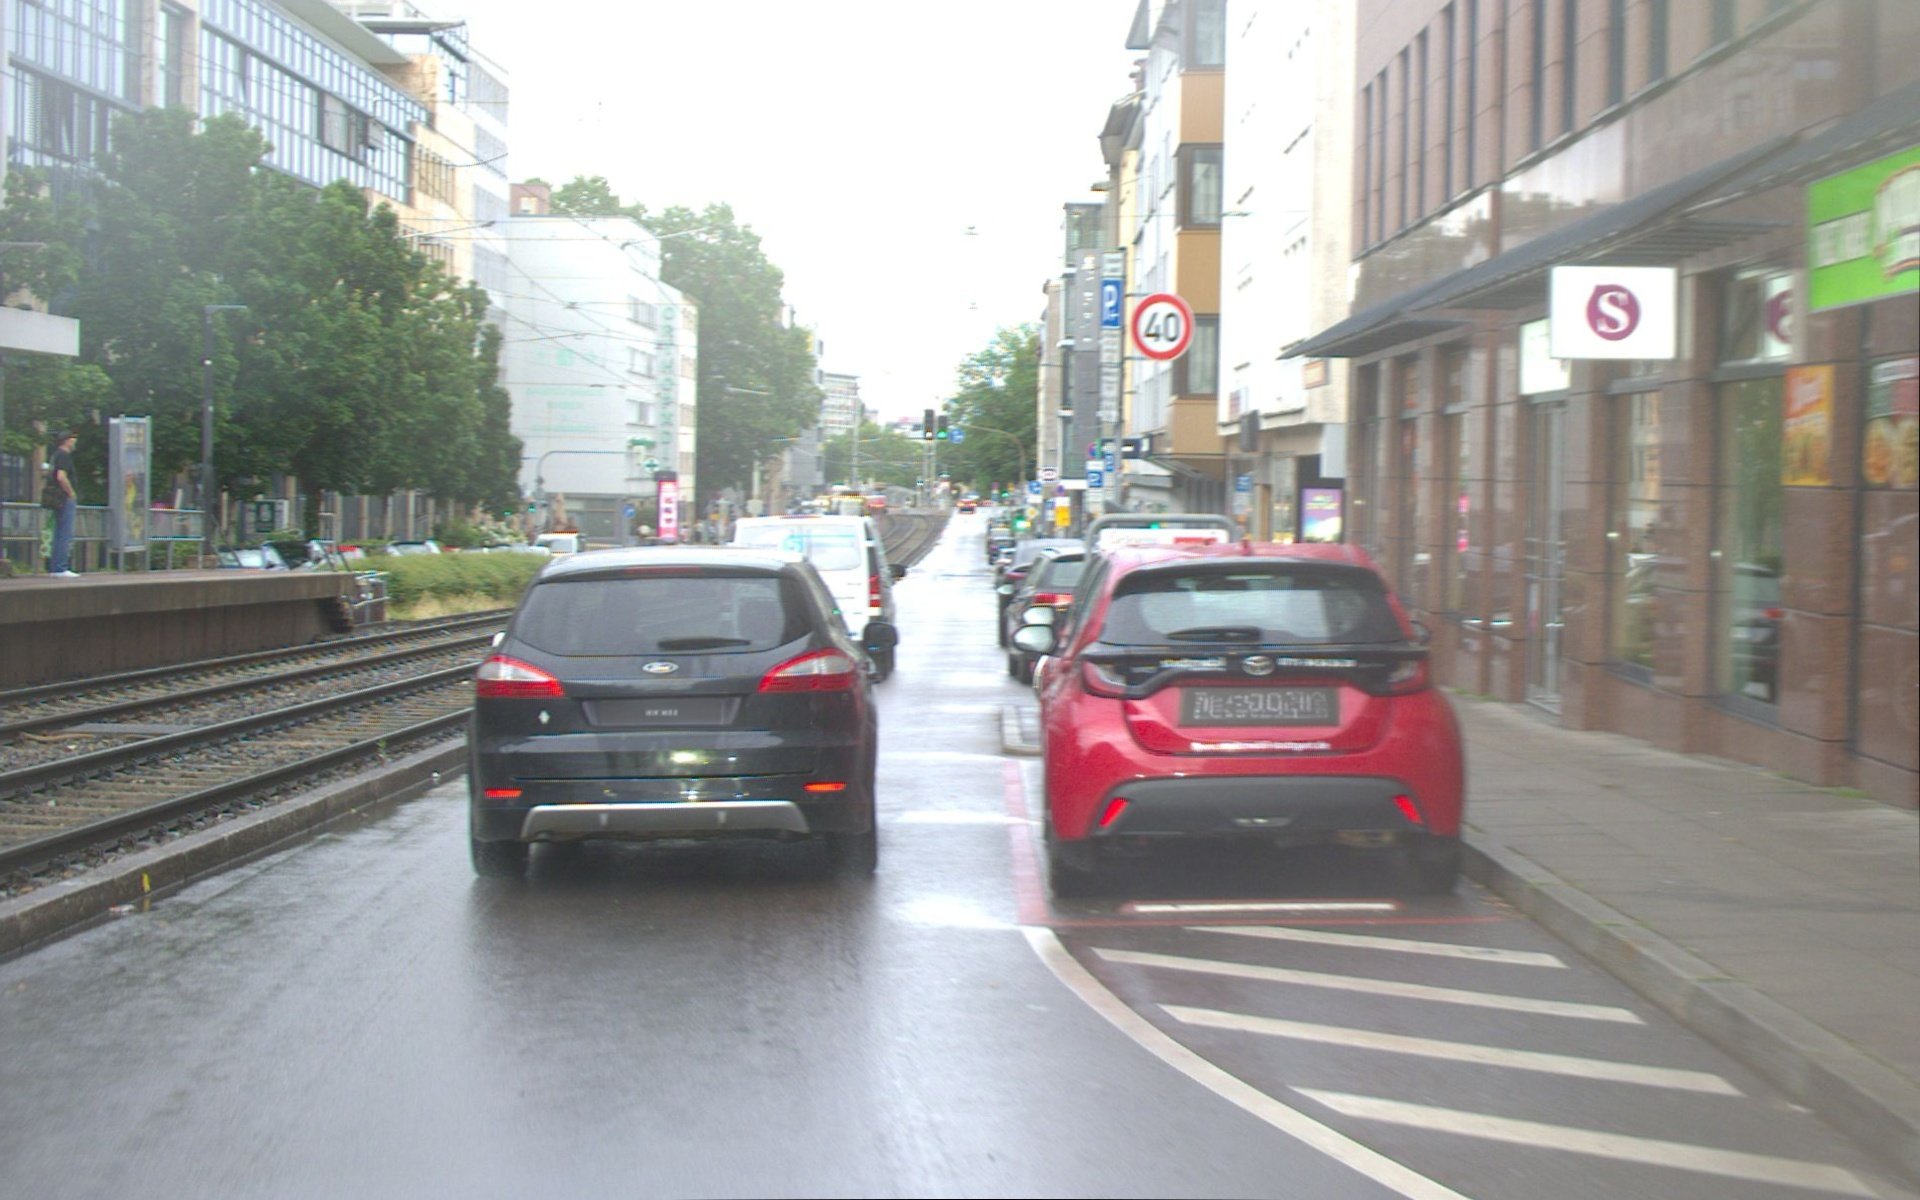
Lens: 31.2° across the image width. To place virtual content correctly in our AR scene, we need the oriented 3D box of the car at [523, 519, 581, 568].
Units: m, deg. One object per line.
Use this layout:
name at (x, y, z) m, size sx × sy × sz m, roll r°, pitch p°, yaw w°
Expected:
car at (-15.933, -2.182, 134.443) m, size 1.906 × 1.858 × 4.574 m, roll 0°, pitch 0°, yaw -3°

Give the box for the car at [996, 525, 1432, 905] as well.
car at (1.078, 0.444, 15.687) m, size 1.698 × 1.474 × 3.867 m, roll -2°, pitch 0°, yaw 2°

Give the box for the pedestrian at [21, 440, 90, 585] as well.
pedestrian at (-11.331, -1.092, 43.065) m, size 0.655 × 1.795 × 0.850 m, roll 0°, pitch 1°, yaw -2°

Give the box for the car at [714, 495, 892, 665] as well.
car at (-1.770, -0.240, 40.071) m, size 1.906 × 1.858 × 4.574 m, roll 0°, pitch 0°, yaw -1°

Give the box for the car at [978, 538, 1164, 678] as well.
car at (1.174, 0.043, 38.253) m, size 1.774 × 1.463 × 4.610 m, roll 0°, pitch 1°, yaw -2°

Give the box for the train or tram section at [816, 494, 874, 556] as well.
train or tram section at (-7.205, -4.683, 214.820) m, size 3.512 × 3.764 × 11.333 m, roll 0°, pitch 1°, yaw -2°

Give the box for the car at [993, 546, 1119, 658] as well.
car at (1.430, -0.016, 52.925) m, size 1.807 × 1.626 × 5.169 m, roll 0°, pitch 1°, yaw 0°

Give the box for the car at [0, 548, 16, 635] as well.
car at (-16.529, -0.118, 55.574) m, size 1.568 × 1.431 × 4.178 m, roll 0°, pitch 1°, yaw -3°

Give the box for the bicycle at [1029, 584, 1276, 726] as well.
bicycle at (1.404, 0.399, 25.271) m, size 1.786 × 1.027 × 0.462 m, roll 0°, pitch 0°, yaw 0°

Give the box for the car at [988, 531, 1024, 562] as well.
car at (2.490, -2.896, 186.415) m, size 1.906 × 1.628 × 4.574 m, roll 0°, pitch 1°, yaw 1°

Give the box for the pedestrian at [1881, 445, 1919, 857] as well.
pedestrian at (4.155, 0.201, 14.074) m, size 0.601 × 1.654 × 0.625 m, roll 0°, pitch 0°, yaw 1°

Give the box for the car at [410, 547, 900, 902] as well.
car at (-1.293, 0.499, 15.930) m, size 1.906 × 1.457 × 3.445 m, roll 0°, pitch 0°, yaw 1°

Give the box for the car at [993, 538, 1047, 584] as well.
car at (2.197, -1.407, 124.298) m, size 1.906 × 1.628 × 4.574 m, roll 0°, pitch 1°, yaw 1°

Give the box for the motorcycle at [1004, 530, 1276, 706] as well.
motorcycle at (1.473, 0.139, 28.157) m, size 2.086 × 1.402 × 0.798 m, roll 0°, pitch 0°, yaw 19°

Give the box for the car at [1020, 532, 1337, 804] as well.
car at (1.245, 0.358, 20.978) m, size 1.698 × 1.457 × 3.867 m, roll -2°, pitch 0°, yaw 1°
